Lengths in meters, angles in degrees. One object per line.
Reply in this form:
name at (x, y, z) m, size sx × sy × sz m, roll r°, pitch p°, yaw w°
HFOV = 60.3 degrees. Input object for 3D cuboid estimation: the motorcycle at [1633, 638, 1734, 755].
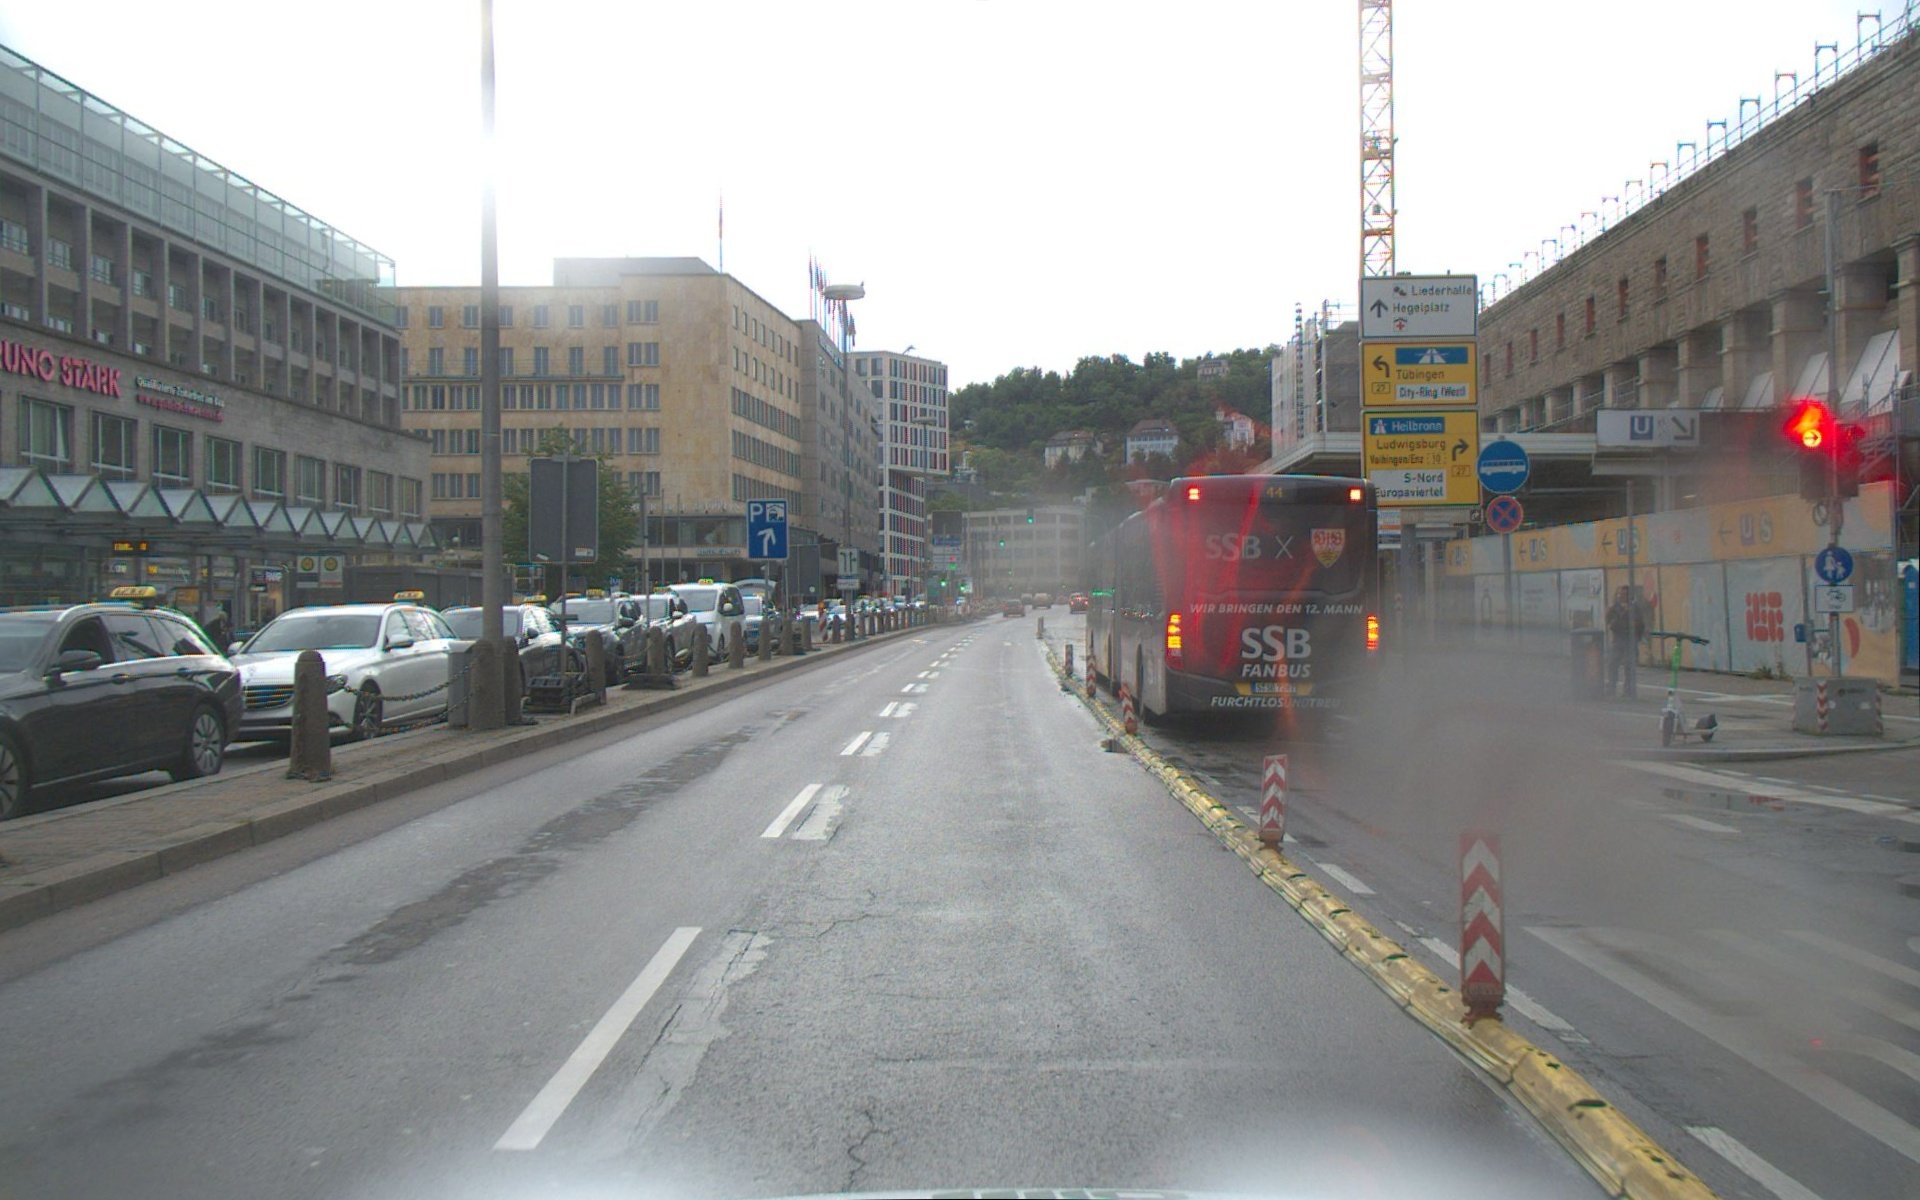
motorcycle at (7.787, 1.006, 17.767) m, size 0.575 × 1.186 × 1.609 m, roll 0°, pitch -1°, yaw 40°

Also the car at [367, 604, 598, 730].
car at (-6.861, 0.908, 24.373) m, size 1.890 × 1.604 × 5.052 m, roll -2°, pitch -1°, yaw 0°

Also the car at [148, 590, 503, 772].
car at (-6.853, 0.805, 18.584) m, size 1.936 × 1.688 × 5.192 m, roll -2°, pitch -1°, yaw 0°

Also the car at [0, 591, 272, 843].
car at (-7.072, 0.791, 12.162) m, size 1.890 × 1.604 × 5.012 m, roll -2°, pitch -1°, yaw 0°

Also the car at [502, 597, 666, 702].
car at (-6.870, 0.864, 30.749) m, size 1.890 × 1.728 × 4.885 m, roll -2°, pitch -1°, yaw 0°

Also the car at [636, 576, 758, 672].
car at (-6.479, 0.564, 41.361) m, size 1.952 × 2.217 × 5.545 m, roll -1°, pitch 0°, yaw 2°

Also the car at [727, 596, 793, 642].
car at (-7.122, 0.675, 59.205) m, size 1.953 × 1.579 × 3.999 m, roll -1°, pitch -1°, yaw -1°

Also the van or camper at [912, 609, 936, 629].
van or camper at (-3.629, 1.924, 167.094) m, size 1.951 × 2.049 × 5.192 m, roll 0°, pitch -1°, yaw 4°

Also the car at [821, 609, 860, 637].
car at (-7.554, 1.408, 104.879) m, size 1.922 × 1.591 × 4.836 m, roll -3°, pitch 0°, yaw 1°

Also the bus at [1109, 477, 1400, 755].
bus at (3.759, 0.220, 23.371) m, size 2.698 × 3.122 × 9.081 m, roll 1°, pitch -1°, yaw 1°

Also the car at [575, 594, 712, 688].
car at (-6.773, 0.846, 35.863) m, size 1.890 × 1.838 × 4.583 m, roll -2°, pitch -1°, yaw 2°

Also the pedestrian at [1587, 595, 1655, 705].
pedestrian at (10.278, 0.764, 25.725) m, size 0.889 × 1.664 × 0.827 m, roll 0°, pitch -1°, yaw 28°

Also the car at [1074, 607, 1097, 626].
car at (11.720, 1.527, 154.639) m, size 1.952 × 1.736 × 4.001 m, roll -1°, pitch -1°, yaw 3°

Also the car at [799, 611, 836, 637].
car at (-9.676, 1.592, 112.770) m, size 1.922 × 1.591 × 4.836 m, roll -3°, pitch 0°, yaw 1°

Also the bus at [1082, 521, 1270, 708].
bus at (3.984, 0.282, 32.427) m, size 2.698 × 3.120 × 8.994 m, roll 1°, pitch -1°, yaw 1°

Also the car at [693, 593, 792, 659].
car at (-6.081, 0.707, 46.774) m, size 1.952 × 1.752 × 4.783 m, roll -1°, pitch 0°, yaw 2°

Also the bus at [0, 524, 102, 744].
bus at (-16.793, 0.550, 24.149) m, size 2.818 × 3.520 × 10.576 m, roll 0°, pitch 0°, yaw 1°

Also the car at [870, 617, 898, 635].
car at (-7.170, 2.475, 156.715) m, size 1.951 × 1.645 × 4.980 m, roll -1°, pitch 0°, yaw 5°

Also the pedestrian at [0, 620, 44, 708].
pedestrian at (-18.975, 1.260, 33.058) m, size 0.724 × 1.696 × 1.026 m, roll 1°, pitch 0°, yaw 3°

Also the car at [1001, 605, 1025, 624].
car at (4.597, 1.242, 142.852) m, size 1.952 × 1.579 × 4.001 m, roll -1°, pitch -1°, yaw 2°
